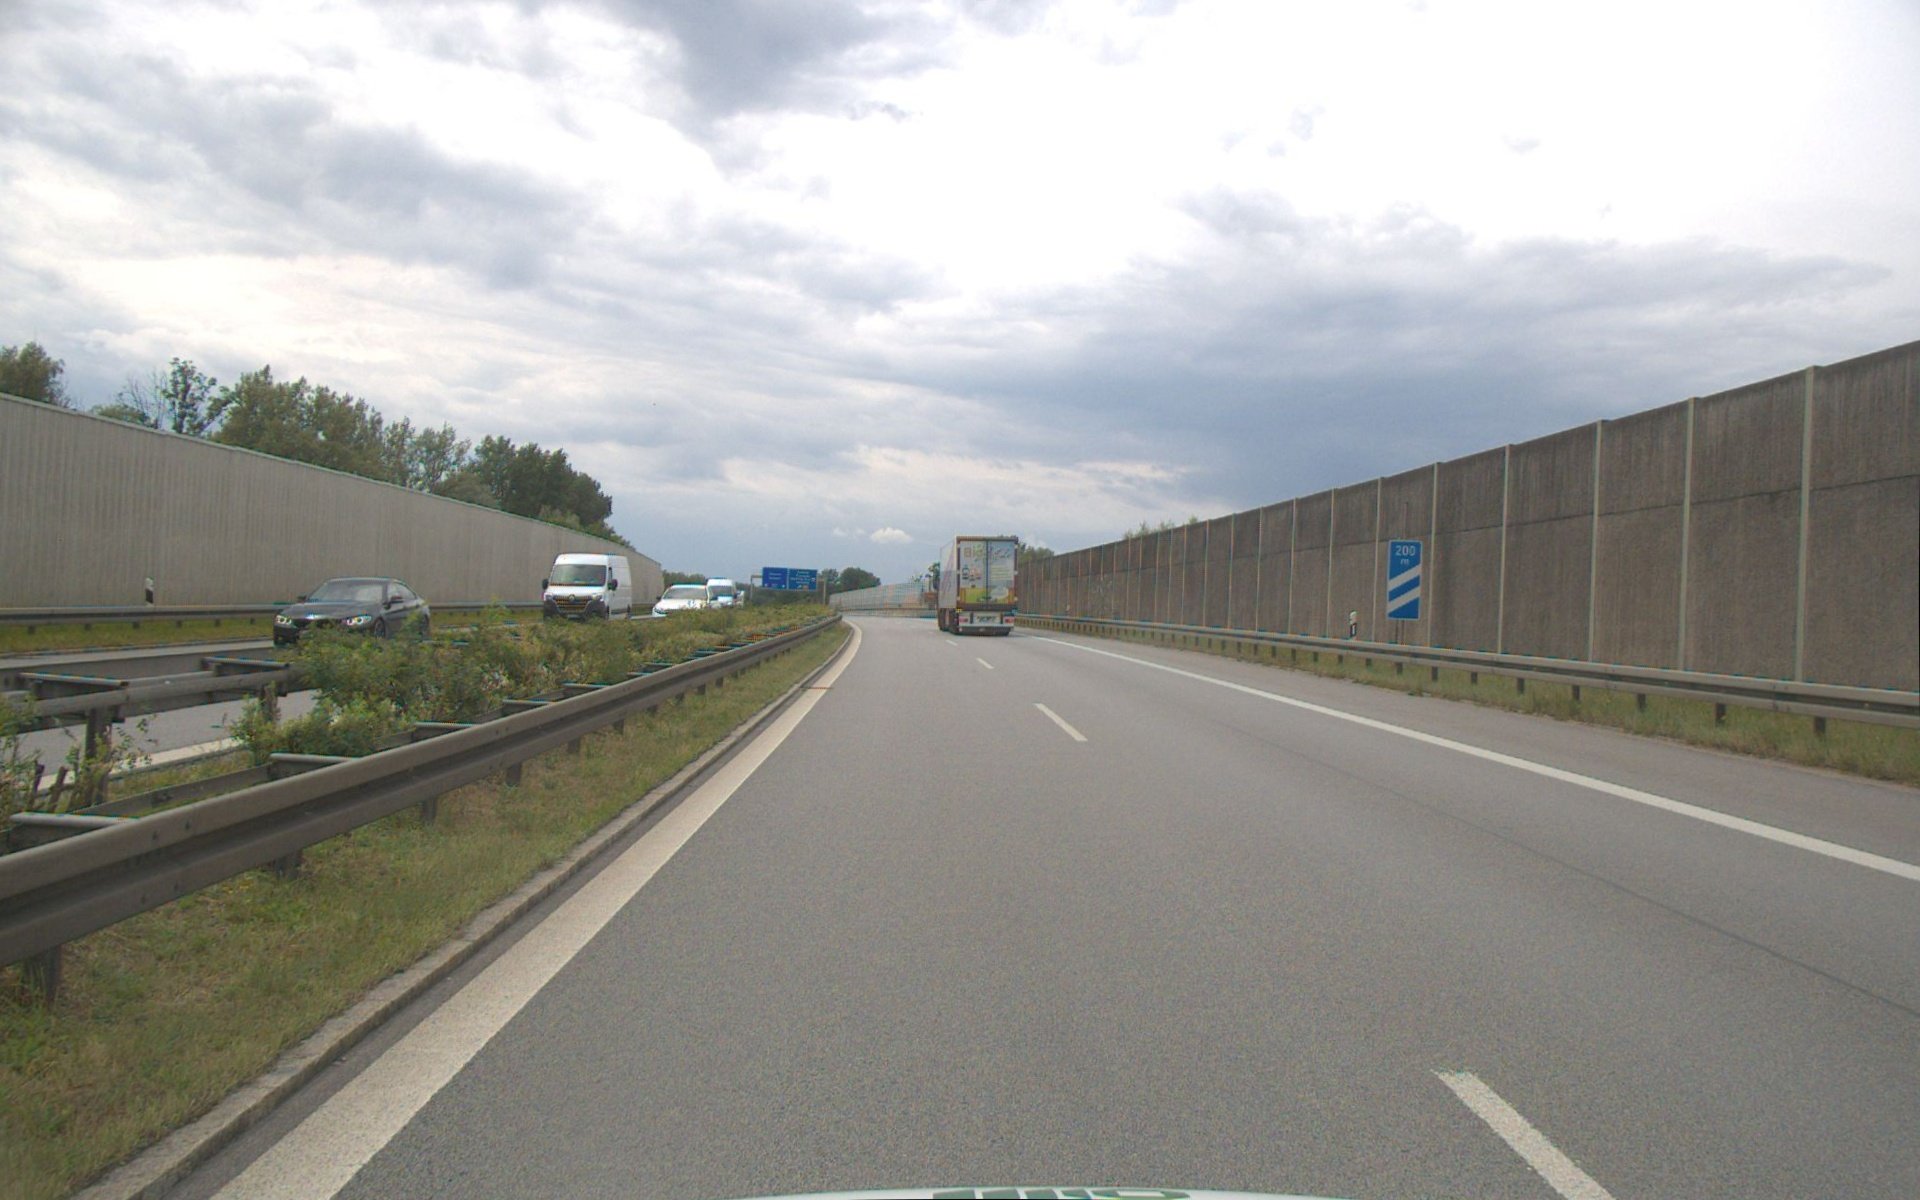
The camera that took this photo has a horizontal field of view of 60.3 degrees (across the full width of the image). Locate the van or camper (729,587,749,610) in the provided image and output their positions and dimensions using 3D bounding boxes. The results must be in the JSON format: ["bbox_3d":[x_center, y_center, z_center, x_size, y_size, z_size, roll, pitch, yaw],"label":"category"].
[{"bbox_3d":[-27.918,-0.196,209.291,2.211,2.828,5.748,1,0,-6],"label":"van or camper"}]

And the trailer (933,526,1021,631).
[{"bbox_3d":[0.592,-0.836,74.729,2.738,4.248,14.089,1,0,-4],"label":"trailer"}]

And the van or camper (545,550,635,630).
[{"bbox_3d":[-12.205,-0.338,54.946,1.954,2.484,6.304,0,0,-4],"label":"van or camper"}]

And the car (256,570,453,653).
[{"bbox_3d":[-11.216,0.186,31.040,1.953,1.388,4.966,1,0,-2],"label":"car"}]

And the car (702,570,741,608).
[{"bbox_3d":[-15.831,-0.723,110.028,2.069,2.498,5.680,0,0,-3],"label":"car"}]

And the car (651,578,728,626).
[{"bbox_3d":[-8.762,0.044,53.917,1.769,1.439,4.966,1,0,-2],"label":"car"}]

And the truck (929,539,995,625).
[{"bbox_3d":[0.048,-0.830,81.046,2.702,4.029,5.671,1,0,-5],"label":"truck"}]
